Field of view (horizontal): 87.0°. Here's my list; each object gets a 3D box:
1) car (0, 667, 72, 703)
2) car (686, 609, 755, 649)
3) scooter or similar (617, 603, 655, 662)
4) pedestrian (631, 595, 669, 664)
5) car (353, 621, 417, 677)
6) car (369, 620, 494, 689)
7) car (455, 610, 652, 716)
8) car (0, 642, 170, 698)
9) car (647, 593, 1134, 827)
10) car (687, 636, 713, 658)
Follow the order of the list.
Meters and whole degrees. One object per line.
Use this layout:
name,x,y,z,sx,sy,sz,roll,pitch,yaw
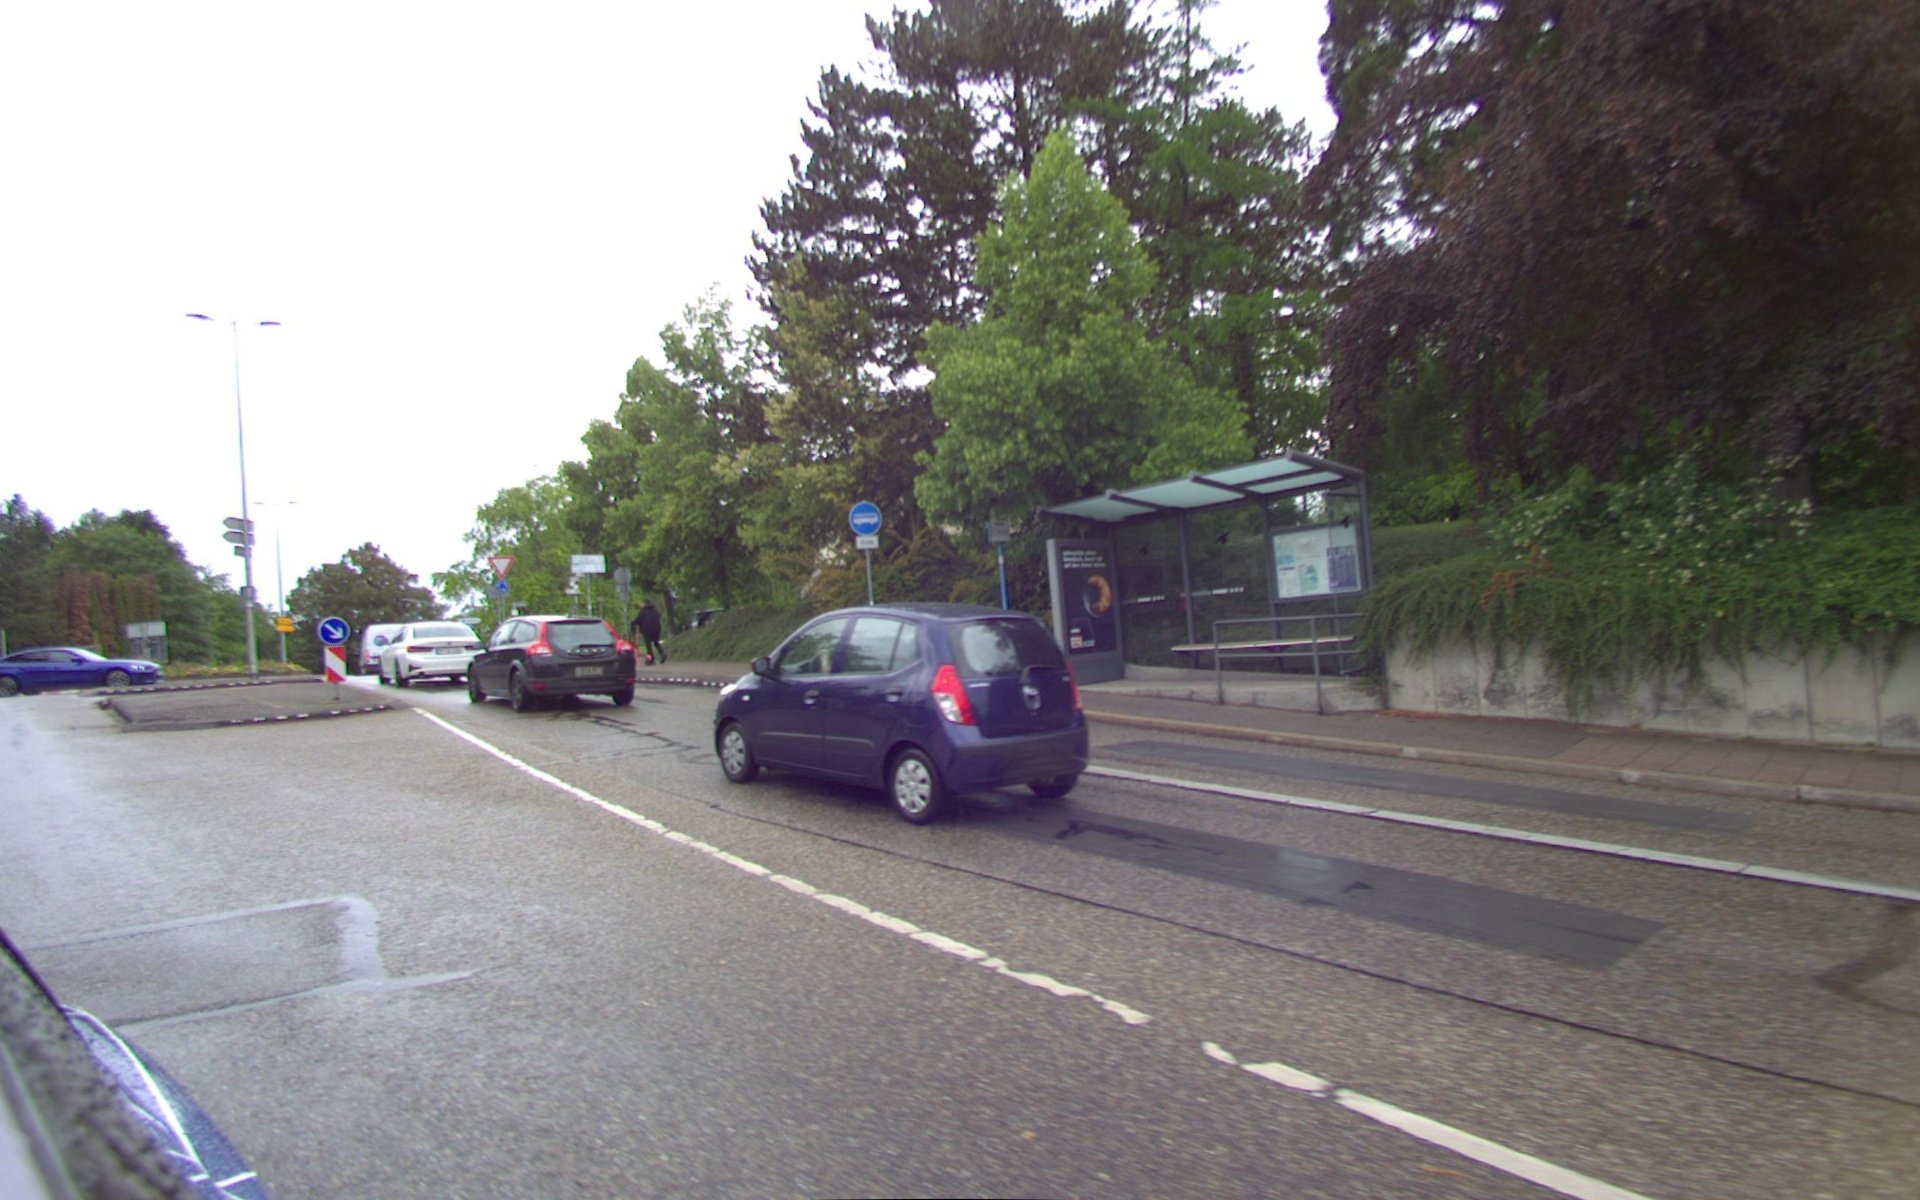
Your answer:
car,-42.578,3.857,44.969,1.850,1.425,4.355,-4,-2,21
car,-10.110,1.236,42.650,2.776,1.553,1.702,-1,-2,-15
scooter or similar,-8.693,0.886,27.158,0.502,1.527,1.320,0,-3,-39
pedestrian,-8.415,0.803,27.427,0.694,1.821,0.827,0,-3,-39
car,-28.185,2.461,49.501,2.139,2.434,5.408,0,-5,-36
car,-12.512,1.254,23.803,1.804,1.412,4.831,0,-2,-37
car,-6.652,0.947,16.269,1.768,1.458,4.411,0,-2,-38
car,-28.096,2.217,31.961,4.591,1.448,1.768,-3,-2,-20
car,-0.837,0.794,8.582,1.701,1.475,4.380,0,-3,-43
car,-21.003,3.760,81.710,1.668,1.626,4.351,-1,-2,-19
